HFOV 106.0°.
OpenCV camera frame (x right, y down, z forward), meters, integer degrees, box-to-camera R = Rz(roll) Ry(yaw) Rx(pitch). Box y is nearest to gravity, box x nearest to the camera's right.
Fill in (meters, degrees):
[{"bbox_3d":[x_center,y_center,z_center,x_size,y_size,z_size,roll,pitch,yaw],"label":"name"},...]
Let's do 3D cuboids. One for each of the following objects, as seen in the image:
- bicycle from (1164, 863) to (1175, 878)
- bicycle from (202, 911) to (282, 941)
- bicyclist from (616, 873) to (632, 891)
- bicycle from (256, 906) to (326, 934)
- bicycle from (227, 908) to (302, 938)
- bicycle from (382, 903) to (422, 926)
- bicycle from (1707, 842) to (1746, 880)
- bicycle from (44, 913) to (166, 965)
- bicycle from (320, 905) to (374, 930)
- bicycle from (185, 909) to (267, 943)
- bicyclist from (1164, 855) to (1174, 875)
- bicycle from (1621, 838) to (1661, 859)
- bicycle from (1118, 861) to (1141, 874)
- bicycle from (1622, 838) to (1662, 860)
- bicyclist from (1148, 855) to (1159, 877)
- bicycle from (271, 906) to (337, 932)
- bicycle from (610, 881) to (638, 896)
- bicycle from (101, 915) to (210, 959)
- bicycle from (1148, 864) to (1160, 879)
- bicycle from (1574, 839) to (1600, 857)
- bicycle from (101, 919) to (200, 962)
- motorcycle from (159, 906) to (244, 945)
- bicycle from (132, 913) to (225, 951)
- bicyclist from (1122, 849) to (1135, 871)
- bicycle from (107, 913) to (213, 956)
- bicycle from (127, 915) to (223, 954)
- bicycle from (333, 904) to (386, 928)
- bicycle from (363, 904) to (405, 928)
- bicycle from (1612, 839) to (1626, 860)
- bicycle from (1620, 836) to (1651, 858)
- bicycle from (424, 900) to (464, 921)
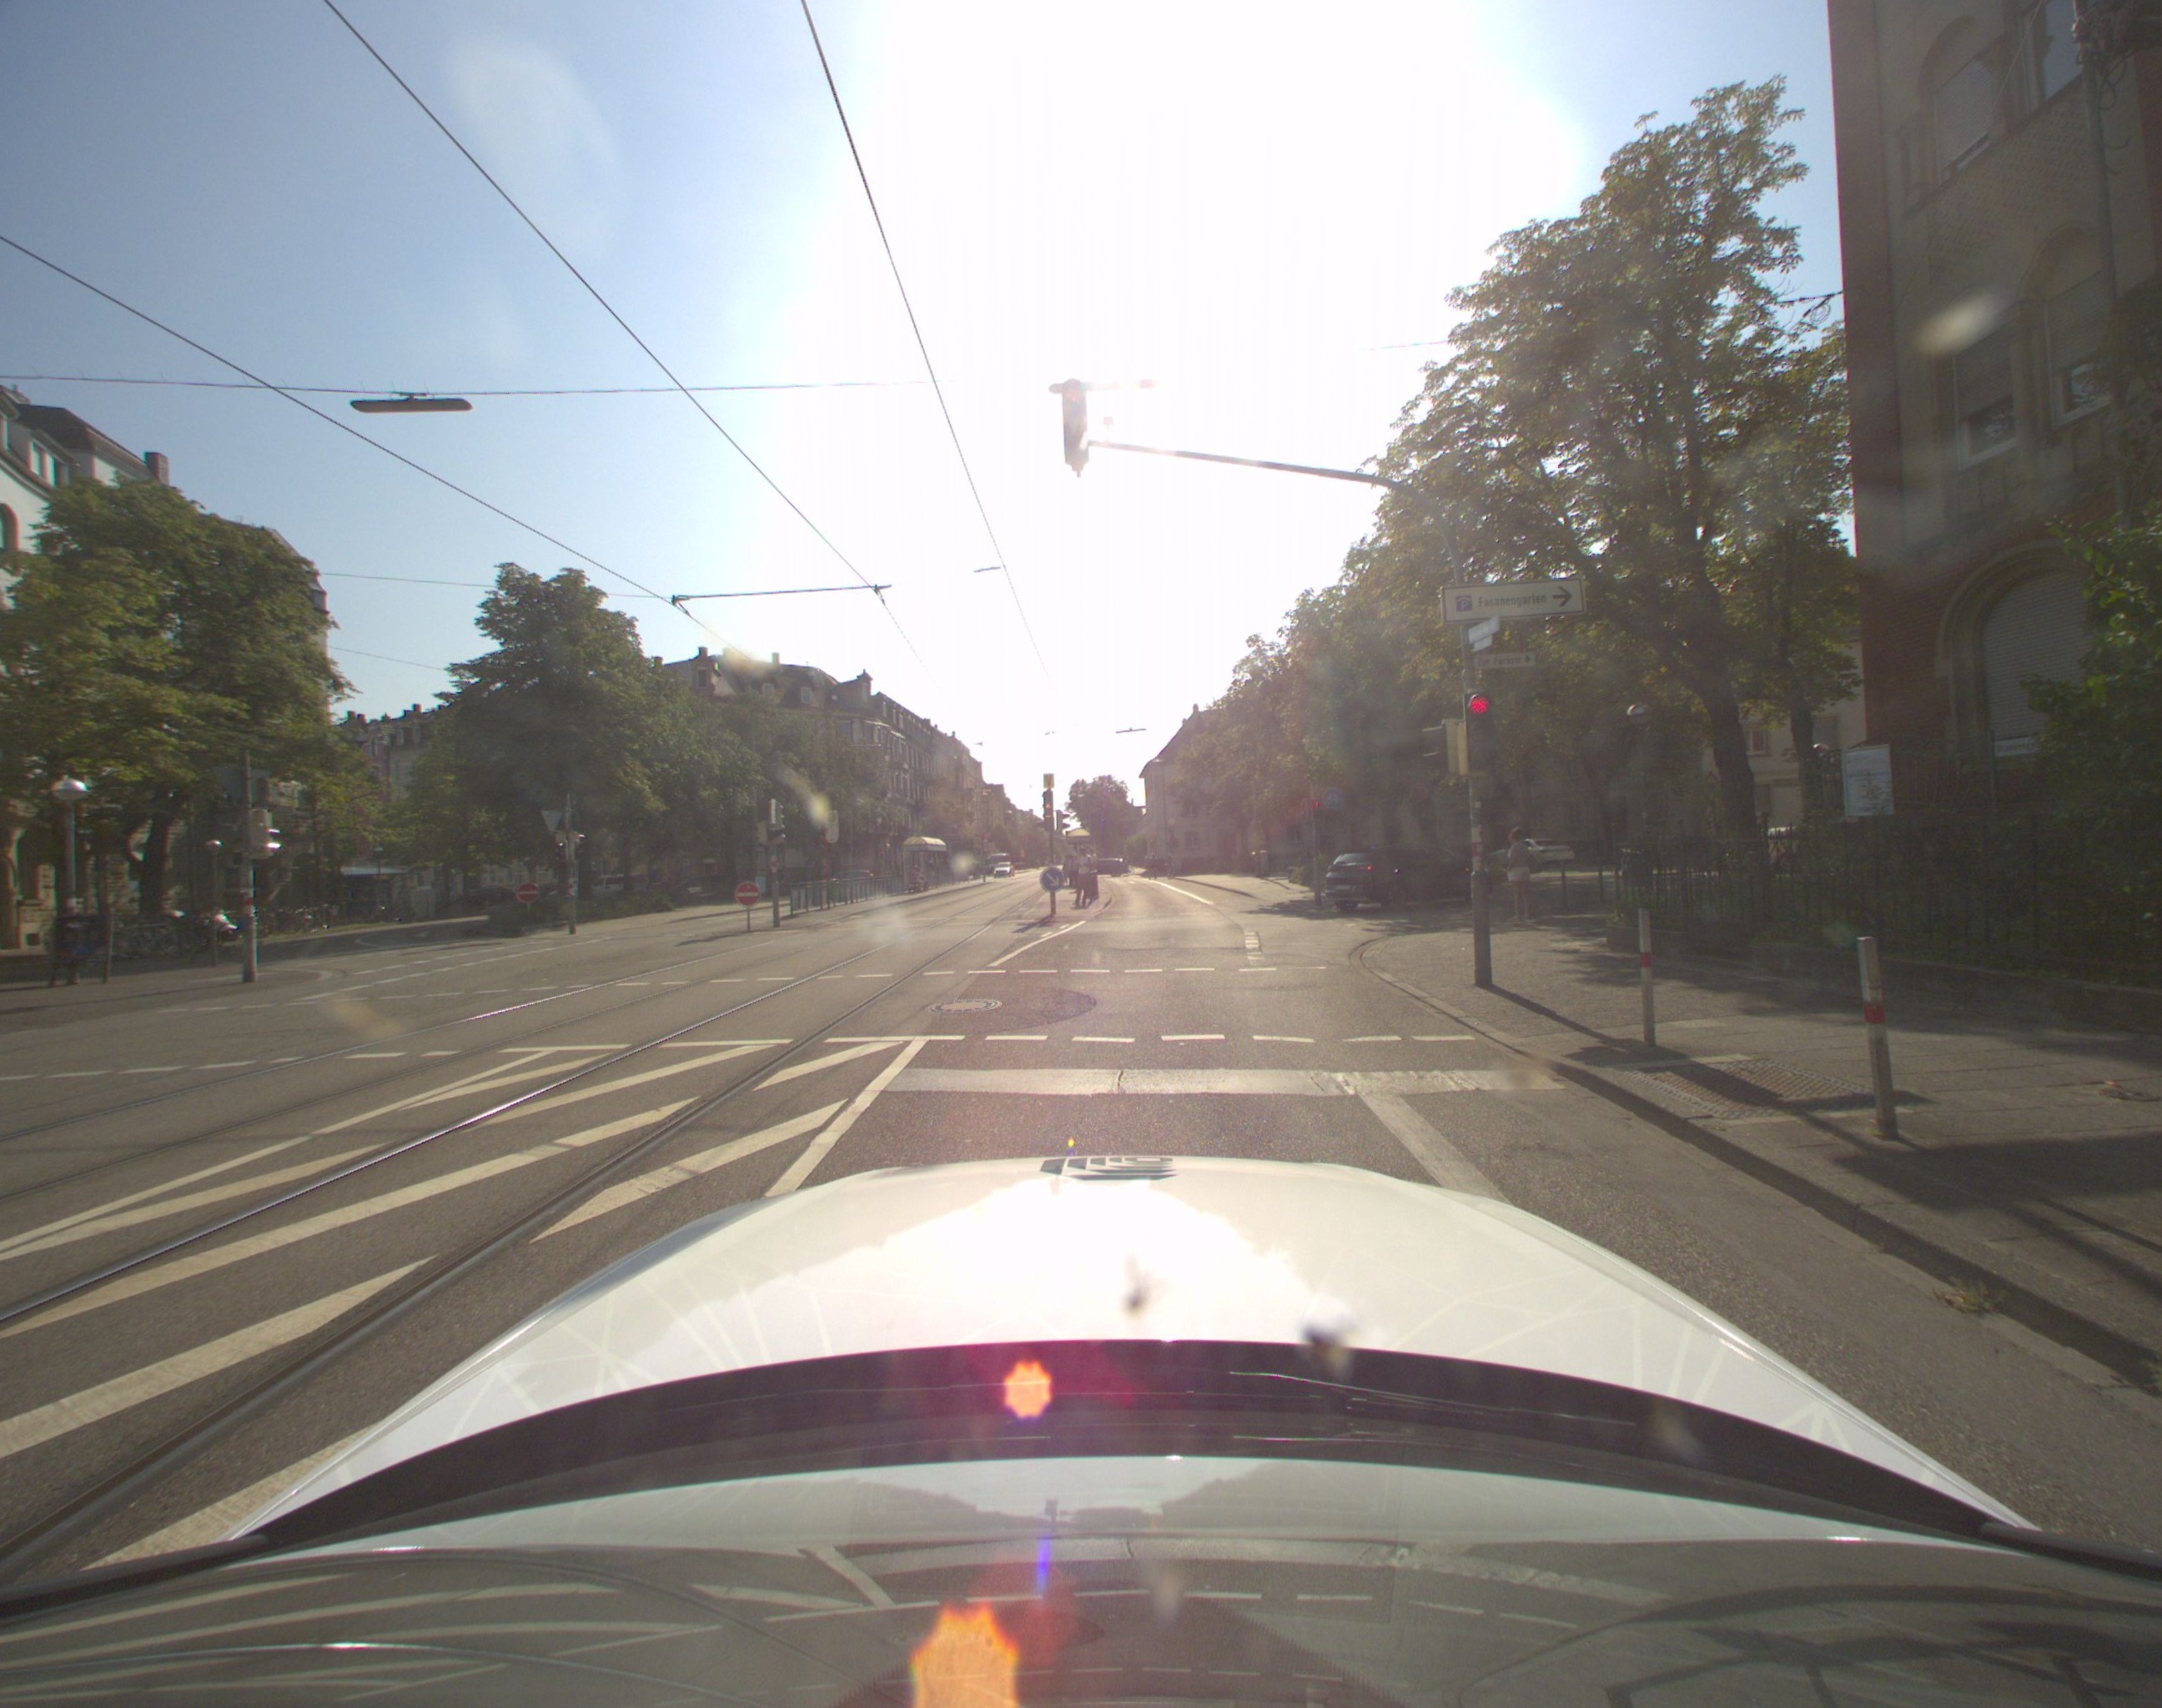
[{"bbox_3d":[6.154,1.119,56.624,0.556,0.978,1.856,-3,0,0],"label":"bicycle"},{"bbox_3d":[-30.843,2.620,29.980,1.919,0.935,0.730,-2,-1,-33],"label":"bicycle"},{"bbox_3d":[-33.976,2.090,60.510,0.813,1.328,0.550,-3,0,13],"label":"bicyclist"},{"bbox_3d":[-31.753,2.654,32.756,1.908,0.980,0.679,-2,-1,-33],"label":"bicycle"},{"bbox_3d":[-31.428,2.633,31.390,1.908,0.980,0.679,-2,-1,-33],"label":"bicycle"},{"bbox_3d":[-32.904,2.934,39.493,0.423,0.978,1.770,-3,0,1],"label":"bicycle"},{"bbox_3d":[17.769,0.182,22.404,1.779,0.978,0.421,-3,0,-39],"label":"bicycle"},{"bbox_3d":[-24.741,2.135,20.688,0.563,1.113,1.888,-3,-1,22],"label":"bicycle"},{"bbox_3d":[-34.399,2.971,38.208,1.771,0.978,0.516,-3,0,-21],"label":"bicycle"},{"bbox_3d":[-30.266,2.534,28.851,1.885,1.027,0.657,-2,-1,-33],"label":"bicycle"},{"bbox_3d":[6.130,0.762,56.641,0.556,1.417,0.871,-3,0,-1],"label":"bicyclist"},{"bbox_3d":[27.630,-0.265,40.190,1.539,0.978,0.427,-3,0,16],"label":"bicycle"},{"bbox_3d":[4.216,1.175,70.485,1.926,0.978,0.497,-3,-1,6],"label":"bicycle"},{"bbox_3d":[27.459,-0.246,39.889,1.539,0.978,0.427,-3,0,16],"label":"bicycle"},{"bbox_3d":[5.103,0.808,57.287,0.627,1.507,0.678,-3,0,-1],"label":"bicyclist"},{"bbox_3d":[-32.515,2.712,34.107,1.877,0.935,0.635,-2,-1,-17],"label":"bicycle"},{"bbox_3d":[-33.942,2.567,60.512,1.838,0.958,0.550,-3,0,12],"label":"bicycle"},{"bbox_3d":[-24.879,2.211,21.931,0.562,1.003,1.890,-3,-1,37],"label":"bicycle"},{"bbox_3d":[5.118,1.223,57.286,0.627,0.978,1.770,-3,0,0],"label":"bicycle"},{"bbox_3d":[28.708,-0.324,46.213,0.423,0.978,1.555,-3,0,-1],"label":"bicycle"},{"bbox_3d":[-23.844,2.198,20.899,0.473,0.920,1.619,-3,-1,31],"label":"bicycle"},{"bbox_3d":[-29.981,2.416,27.796,1.882,1.154,0.601,-2,-1,-33],"label":"motorcycle"},{"bbox_3d":[-27.621,2.380,24.961,1.814,0.983,0.652,-2,-1,-40],"label":"bicycle"},{"bbox_3d":[4.130,0.544,70.498,0.981,1.857,0.494,-3,-1,6],"label":"bicyclist"},{"bbox_3d":[-25.928,2.261,22.970,1.887,1.034,0.563,-2,-1,-38],"label":"bicycle"},{"bbox_3d":[-26.775,2.358,24.113,1.814,0.984,0.563,-2,-1,-40],"label":"bicycle"},{"bbox_3d":[-34.517,2.975,38.986,1.772,0.978,0.601,-3,0,-22],"label":"bicycle"},{"bbox_3d":[-33.284,2.940,38.910,0.423,0.978,1.770,-3,0,1],"label":"bicycle"},{"bbox_3d":[27.383,-0.229,41.457,0.420,0.978,1.566,-3,0,39],"label":"bicycle"},{"bbox_3d":[28.308,-0.338,41.560,1.555,1.038,0.423,-3,0,-18],"label":"bicycle"},{"bbox_3d":[-33.490,2.975,42.818,1.754,0.978,0.607,-3,0,8],"label":"bicycle"}]
